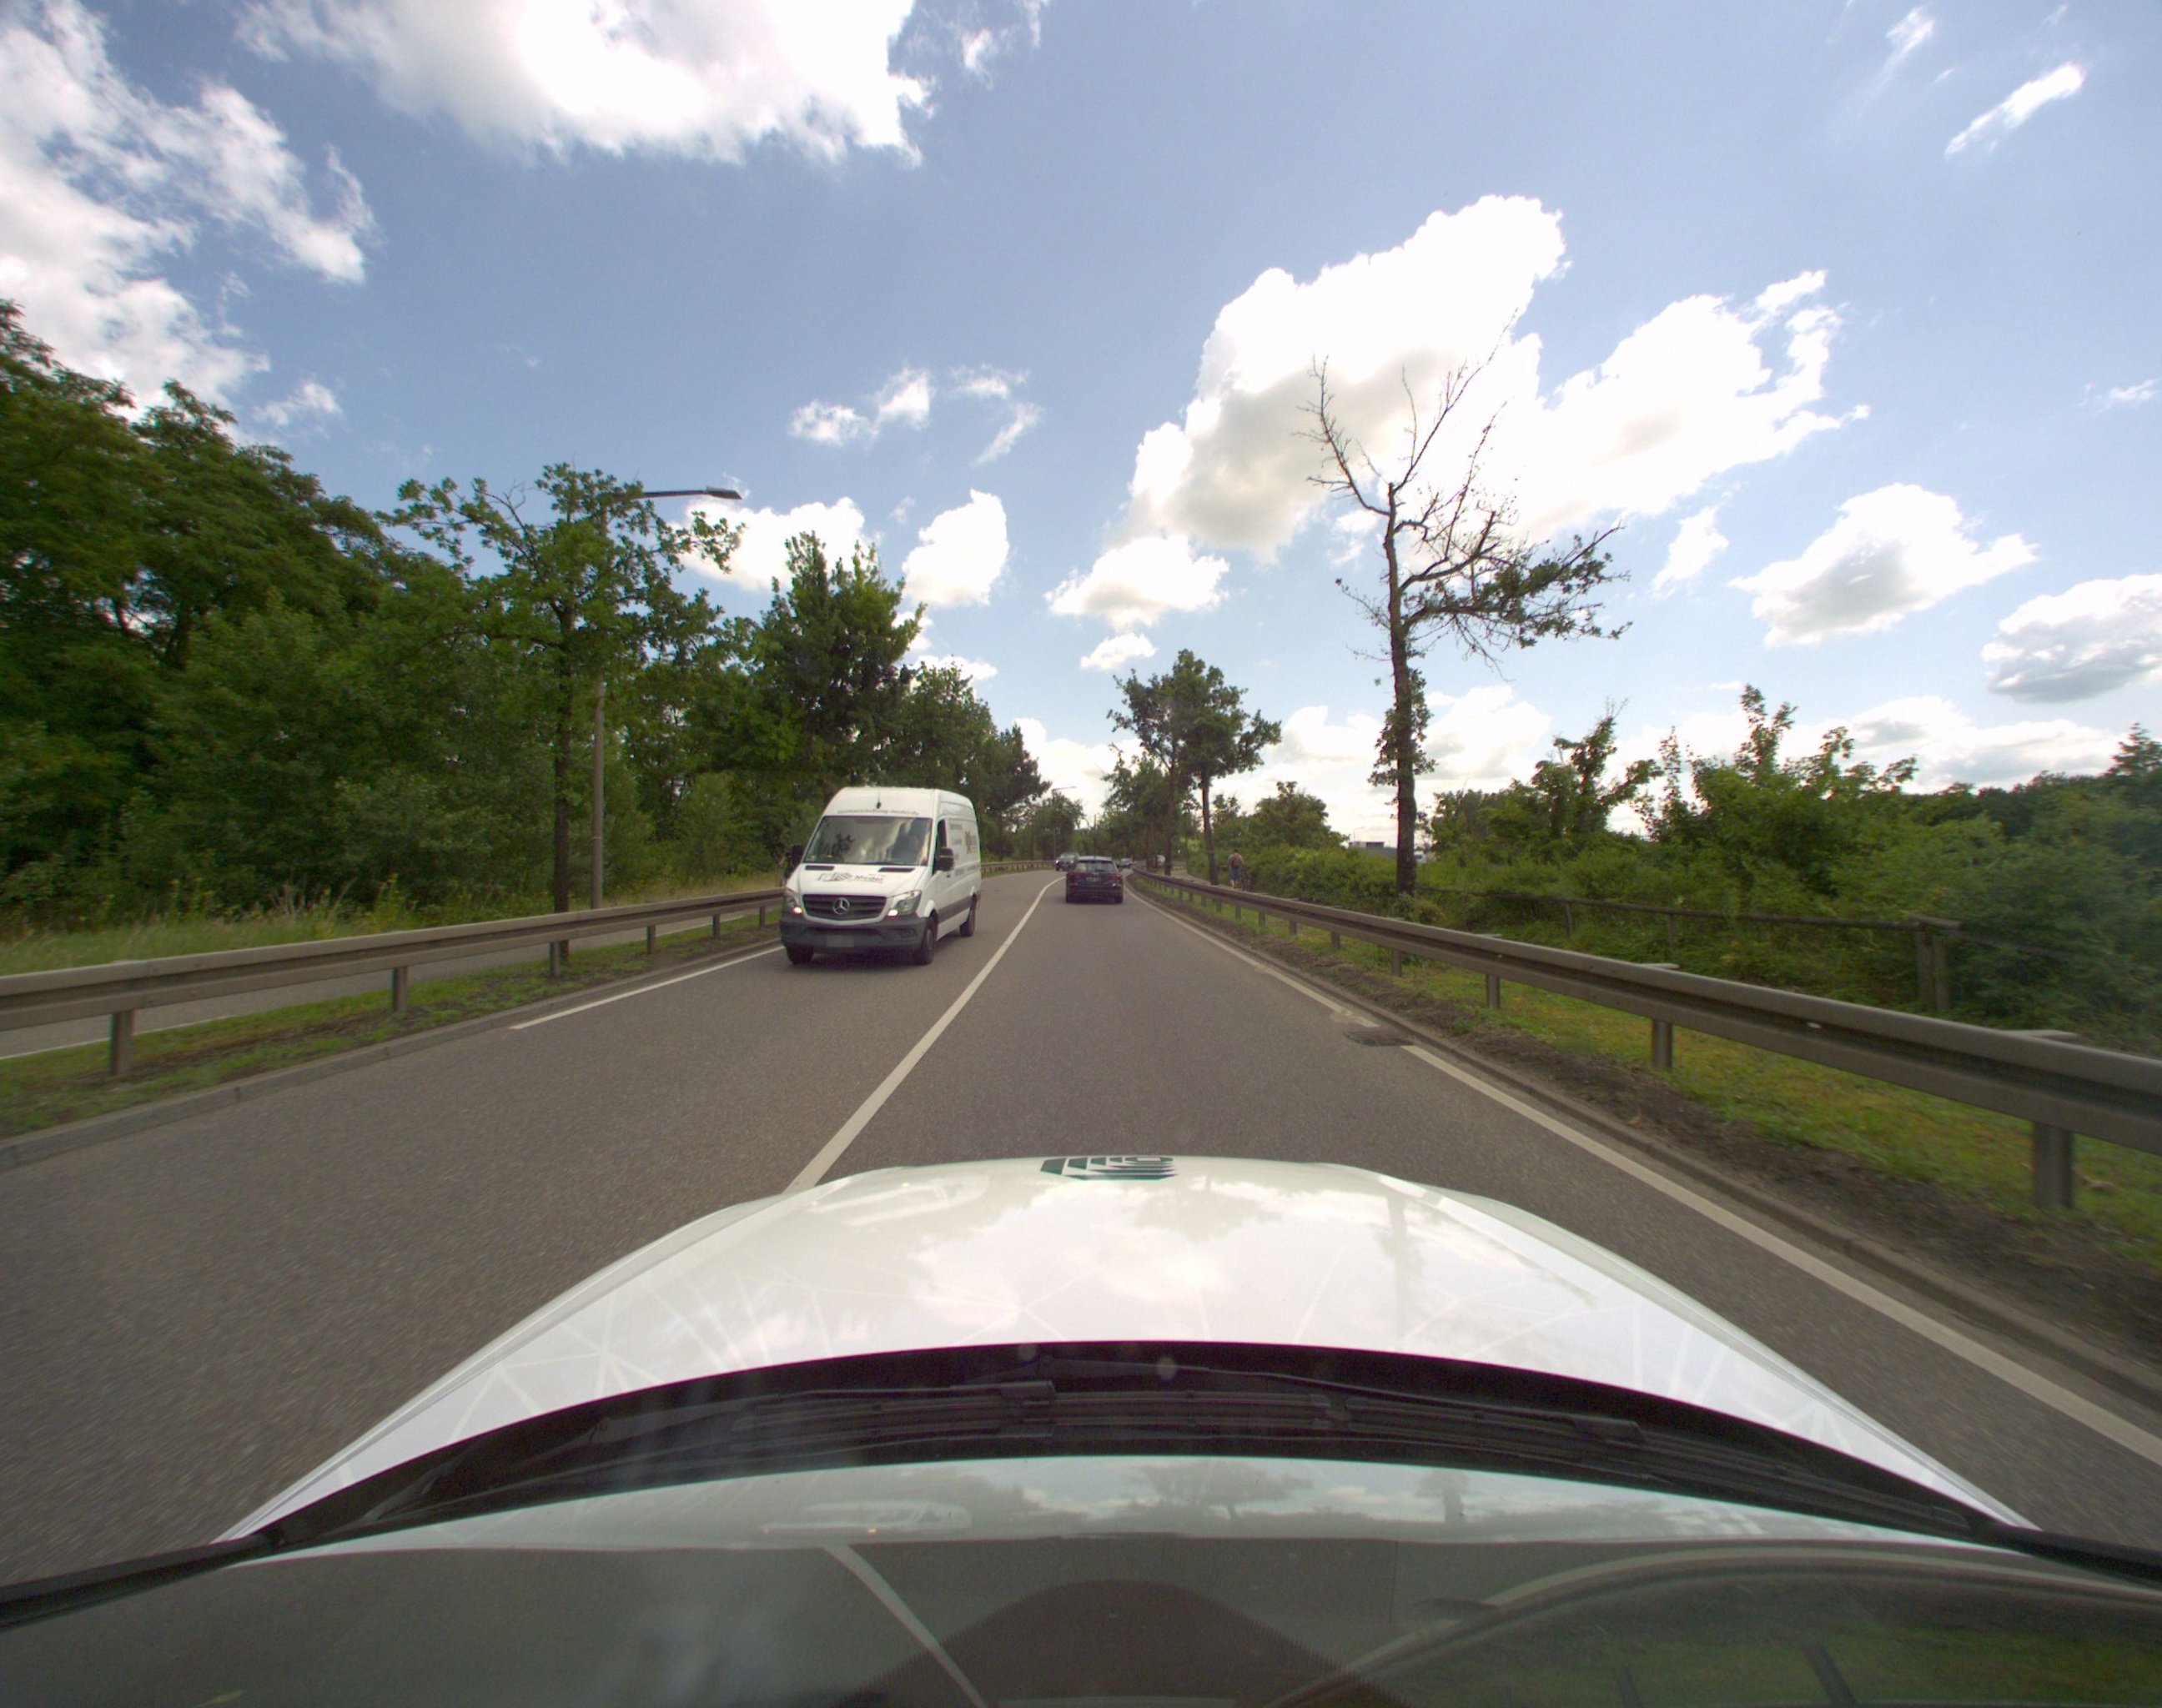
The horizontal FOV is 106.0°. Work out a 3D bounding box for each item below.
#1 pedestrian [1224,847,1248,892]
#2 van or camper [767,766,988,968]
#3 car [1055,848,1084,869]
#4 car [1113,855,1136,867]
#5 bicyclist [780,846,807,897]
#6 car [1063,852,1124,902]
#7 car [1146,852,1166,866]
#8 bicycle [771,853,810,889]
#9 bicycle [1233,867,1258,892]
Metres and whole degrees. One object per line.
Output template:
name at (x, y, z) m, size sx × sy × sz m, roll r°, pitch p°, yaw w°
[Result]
pedestrian at (5.830, 0.582, 30.654) m, size 0.655 × 1.642 × 1.054 m, roll -1°, pitch 0°, yaw 0°
van or camper at (-2.955, 0.153, 13.449) m, size 1.986 × 2.582 × 5.984 m, roll 0°, pitch 0°, yaw 2°
car at (-0.934, 0.368, 68.435) m, size 1.771 × 1.607 × 4.167 m, roll 1°, pitch 0°, yaw 8°
car at (4.902, 0.765, 91.310) m, size 1.580 × 1.218 × 3.807 m, roll 0°, pitch 0°, yaw 18°
bicyclist at (-8.975, 0.523, 25.420) m, size 0.483 × 1.553 × 0.880 m, roll -1°, pitch 0°, yaw 0°
car at (0.443, 0.688, 26.394) m, size 1.821 × 1.491 × 4.208 m, roll 0°, pitch 0°, yaw 2°
car at (8.403, 0.551, 90.726) m, size 1.567 × 1.520 × 4.016 m, roll 0°, pitch 0°, yaw 15°
bicycle at (-8.978, 0.515, 25.211) m, size 0.555 × 1.063 × 1.753 m, roll -1°, pitch 0°, yaw 0°
bicycle at (6.176, 0.940, 30.670) m, size 0.554 × 0.869 × 1.825 m, roll -1°, pitch 0°, yaw 0°
